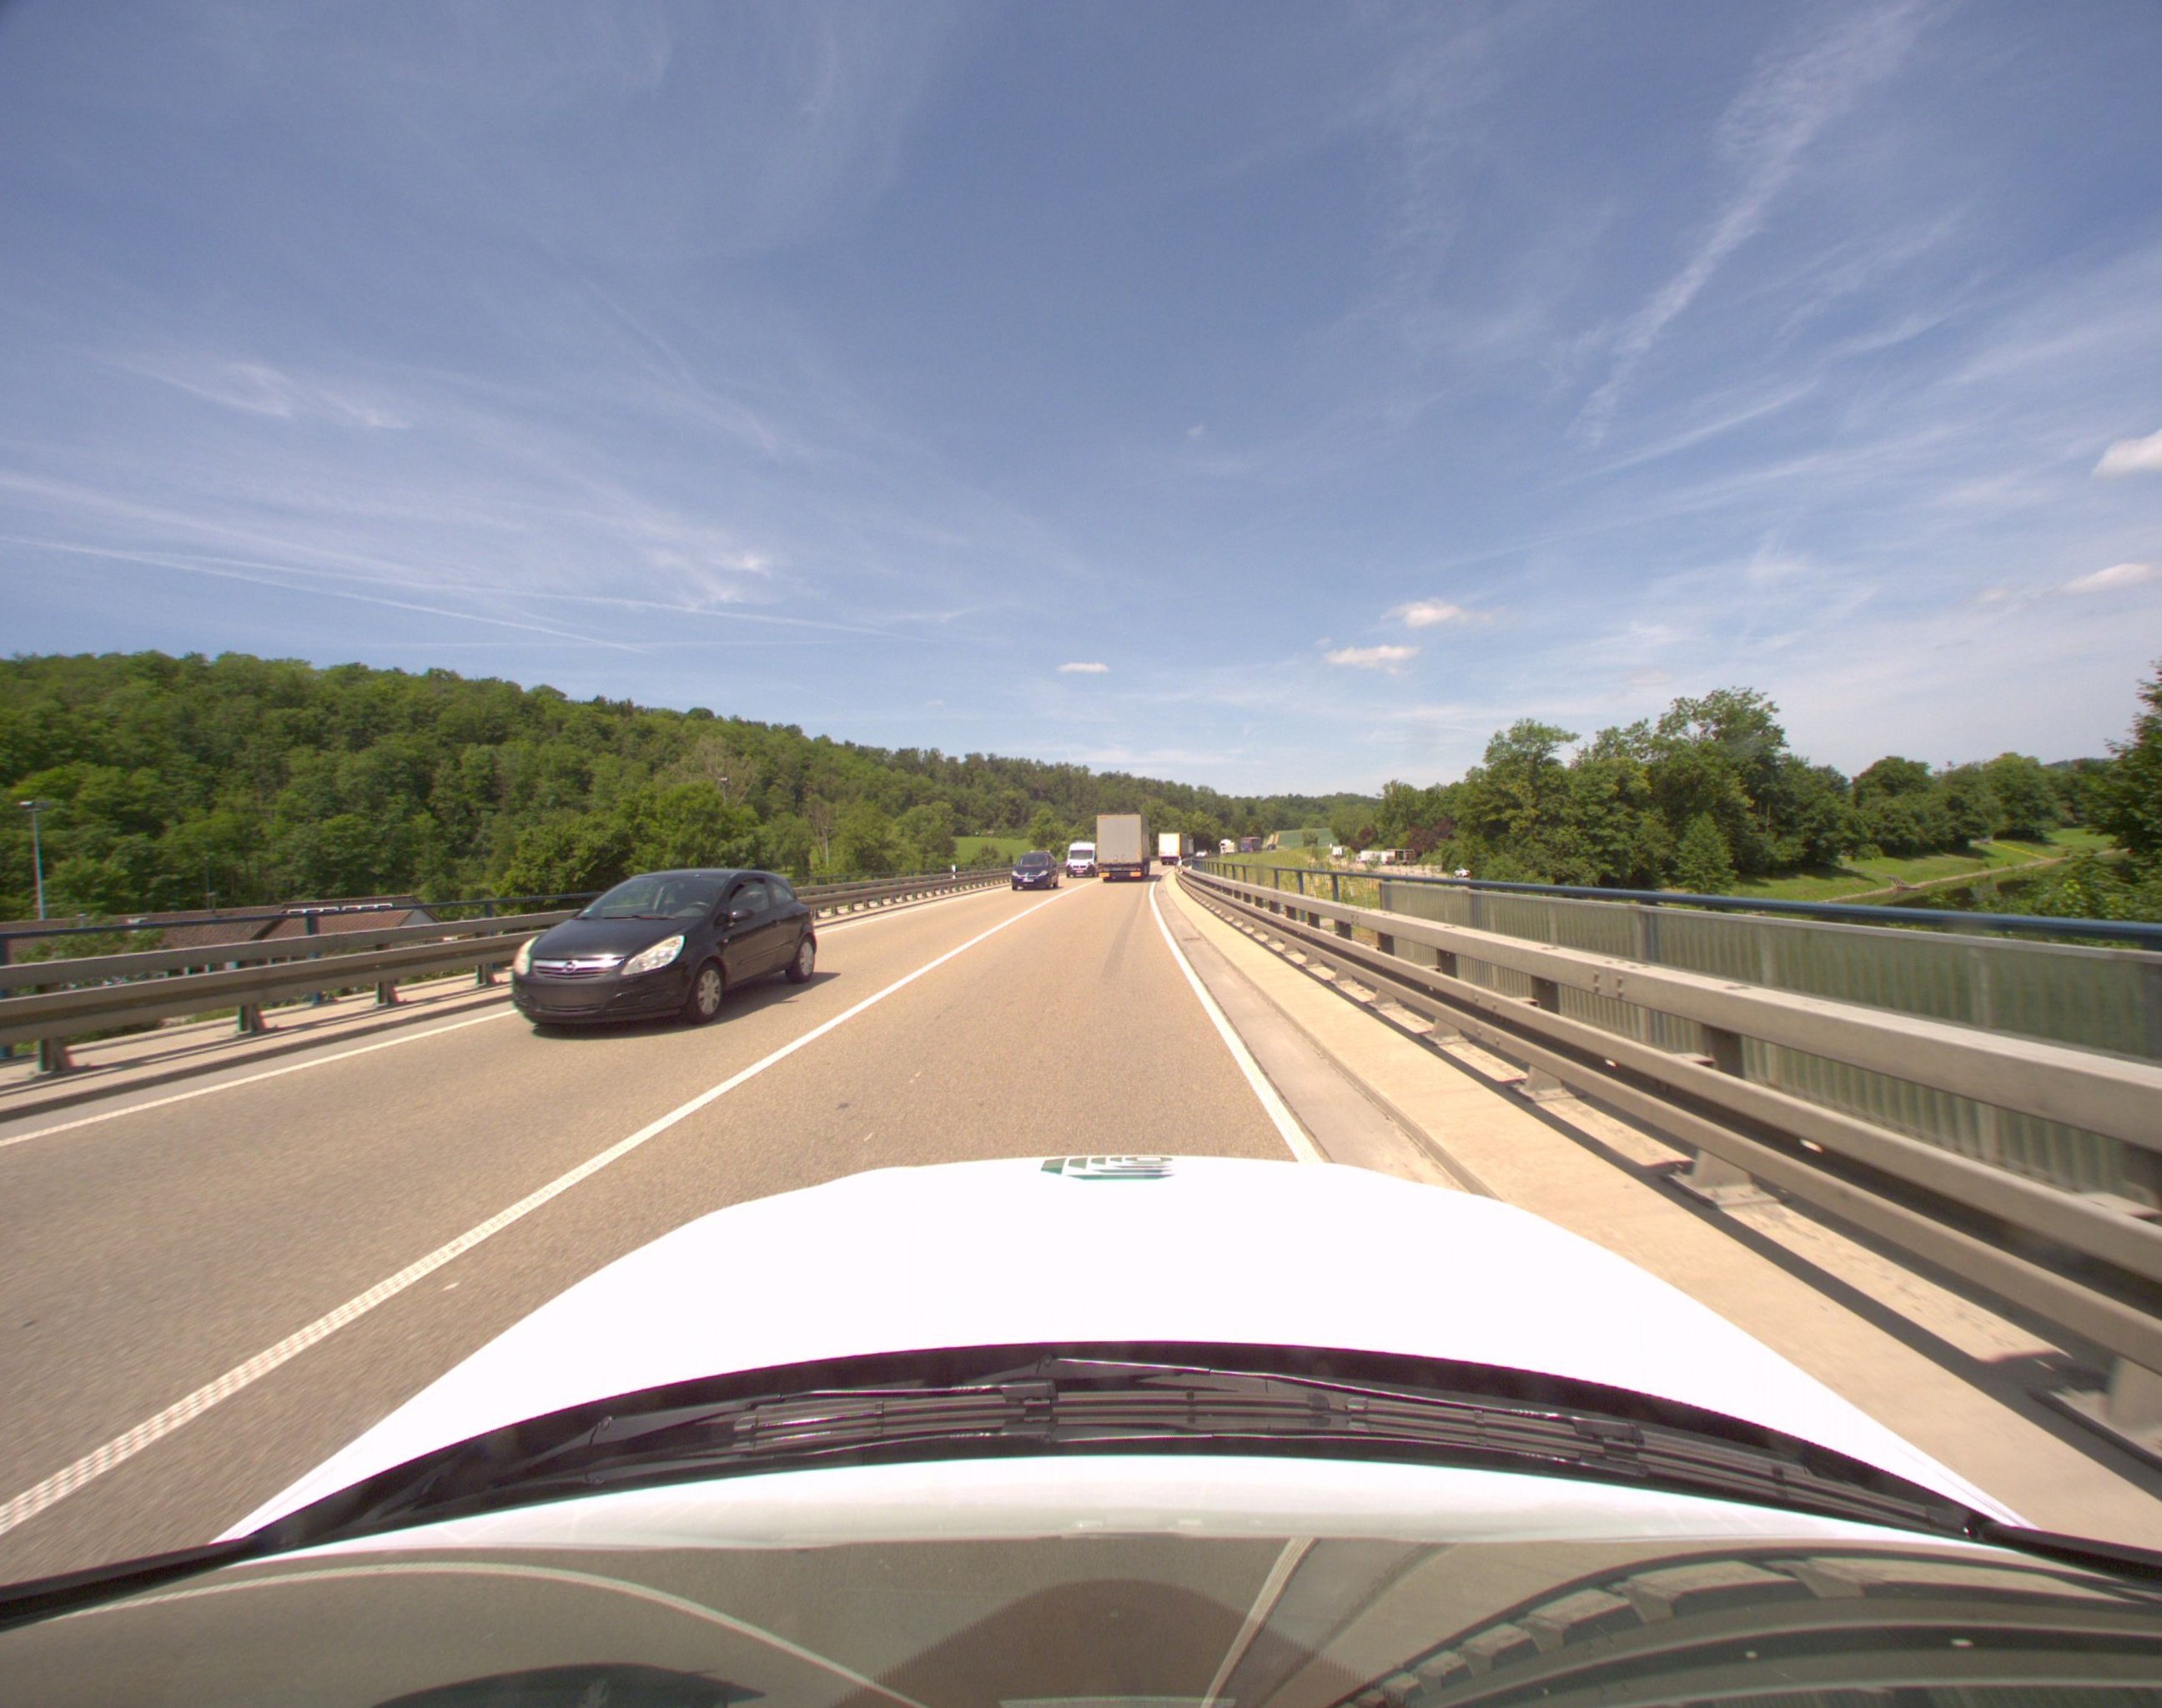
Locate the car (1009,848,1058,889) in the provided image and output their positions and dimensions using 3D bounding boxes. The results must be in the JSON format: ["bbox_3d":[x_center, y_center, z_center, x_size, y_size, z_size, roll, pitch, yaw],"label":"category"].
[{"bbox_3d":[-2.204,0.655,39.158,1.845,1.798,4.980,-1,0,2],"label":"car"}]

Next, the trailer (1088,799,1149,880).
[{"bbox_3d":[2.671,-0.768,52.540,3.103,4.500,13.907,-1,0,6],"label":"trailer"}]

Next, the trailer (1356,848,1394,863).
[{"bbox_3d":[68.826,0.392,190.959,2.720,3.327,11.847,-1,1,-12],"label":"trailer"}]

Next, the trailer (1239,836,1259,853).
[{"bbox_3d":[42.857,-2.324,207.852,3.619,4.262,12.251,-1,0,18],"label":"trailer"}]

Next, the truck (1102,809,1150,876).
[{"bbox_3d":[3.333,-0.748,59.043,3.103,4.494,6.821,-1,-1,6],"label":"truck"}]

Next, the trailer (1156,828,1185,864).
[{"bbox_3d":[11.742,-0.995,106.197,3.346,4.317,13.894,-1,0,8],"label":"trailer"}]

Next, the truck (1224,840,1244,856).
[{"bbox_3d":[35.178,-1.306,186.913,3.198,3.365,11.926,-1,0,17],"label":"truck"}]

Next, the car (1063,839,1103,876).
[{"bbox_3d":[0.205,0.239,59.840,2.167,2.559,5.809,-1,0,7],"label":"car"}]

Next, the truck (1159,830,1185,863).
[{"bbox_3d":[12.691,-0.974,112.957,3.346,4.317,6.755,-1,0,8],"label":"truck"}]

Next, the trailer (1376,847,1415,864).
[{"bbox_3d":[72.488,0.263,187.957,2.719,3.606,11.855,0,1,-10],"label":"trailer"}]

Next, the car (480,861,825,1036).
[{"bbox_3d":[-4.302,0.828,8.953,1.655,1.458,3.895,-1,0,1],"label":"car"}]

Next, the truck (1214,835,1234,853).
[{"bbox_3d":[35.494,-2.424,201.674,3.034,4.262,9.920,-1,0,22],"label":"truck"}]
